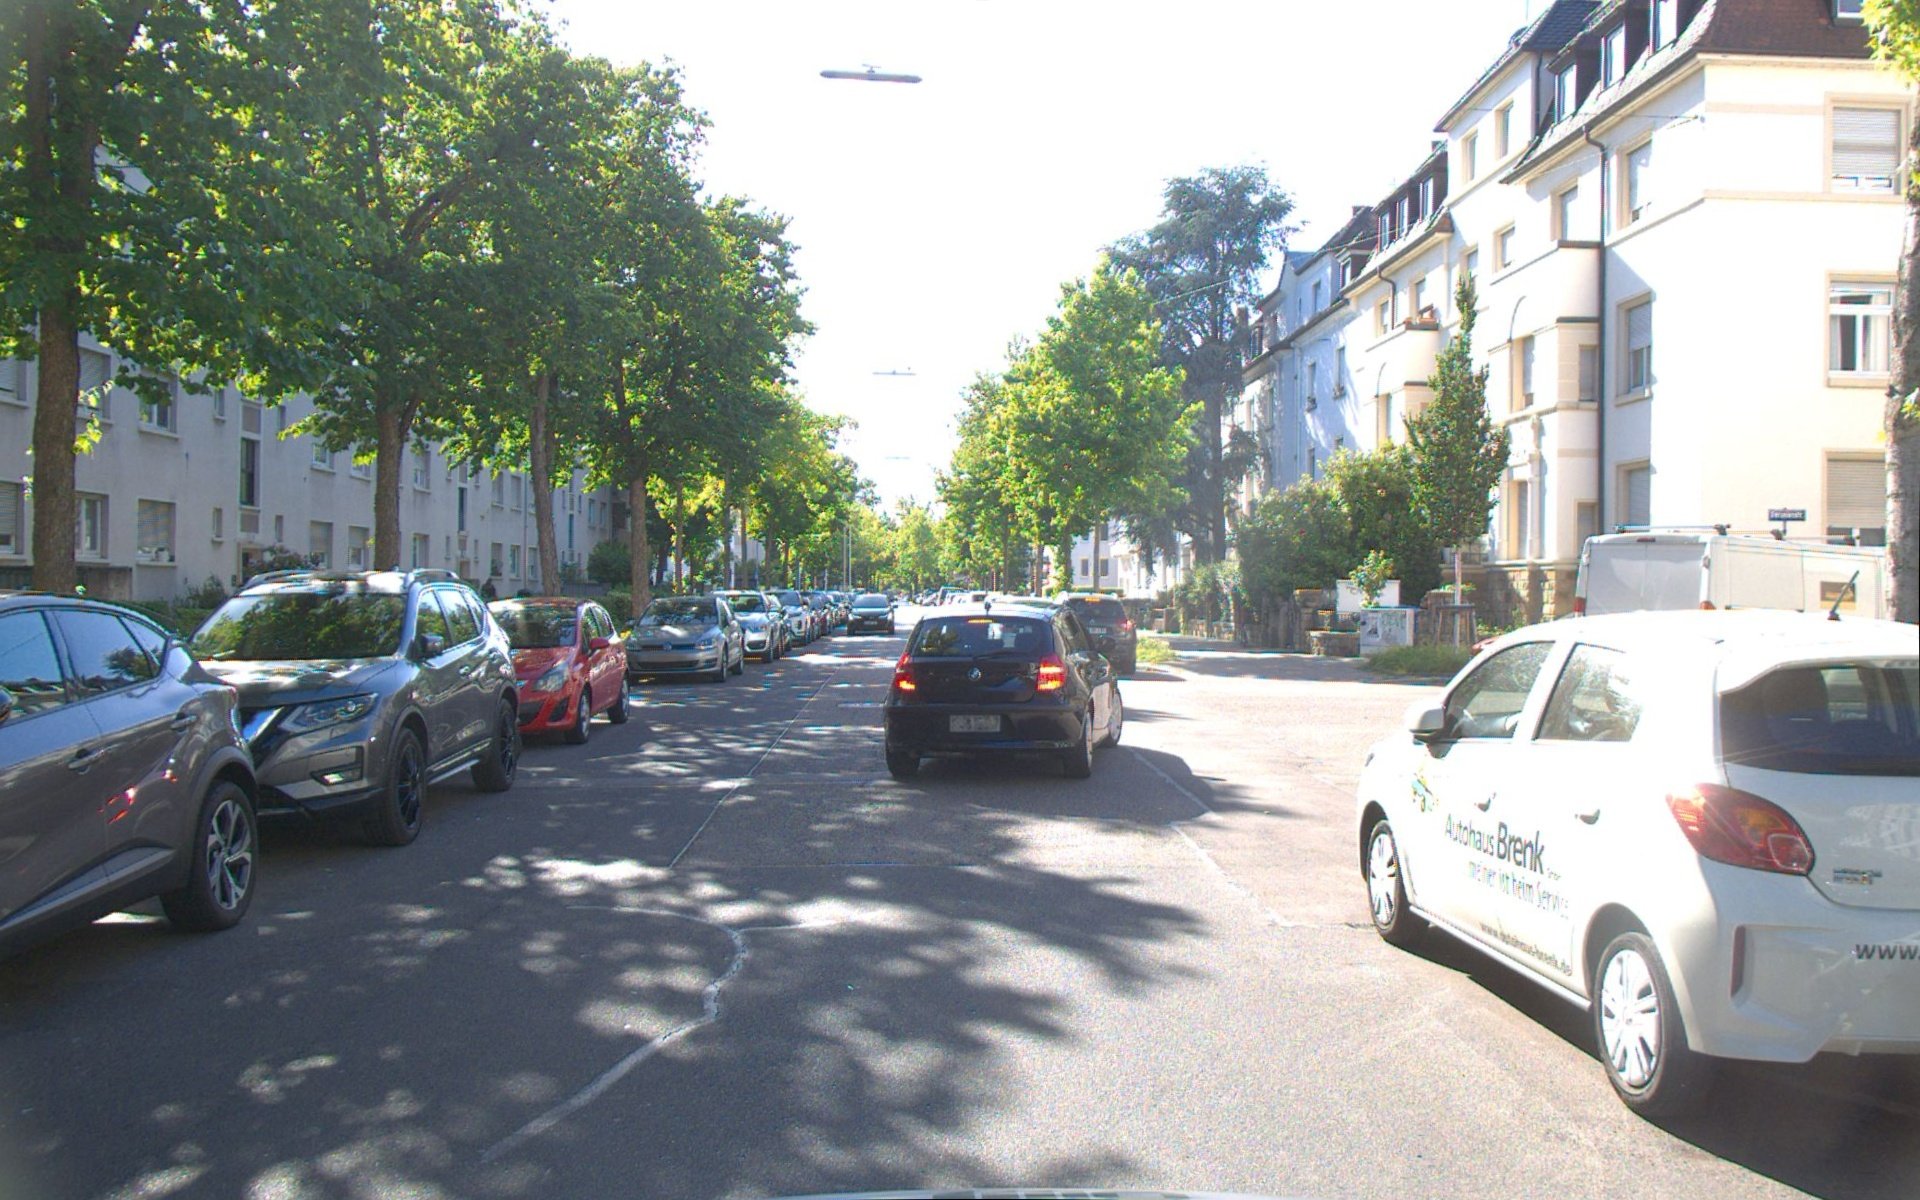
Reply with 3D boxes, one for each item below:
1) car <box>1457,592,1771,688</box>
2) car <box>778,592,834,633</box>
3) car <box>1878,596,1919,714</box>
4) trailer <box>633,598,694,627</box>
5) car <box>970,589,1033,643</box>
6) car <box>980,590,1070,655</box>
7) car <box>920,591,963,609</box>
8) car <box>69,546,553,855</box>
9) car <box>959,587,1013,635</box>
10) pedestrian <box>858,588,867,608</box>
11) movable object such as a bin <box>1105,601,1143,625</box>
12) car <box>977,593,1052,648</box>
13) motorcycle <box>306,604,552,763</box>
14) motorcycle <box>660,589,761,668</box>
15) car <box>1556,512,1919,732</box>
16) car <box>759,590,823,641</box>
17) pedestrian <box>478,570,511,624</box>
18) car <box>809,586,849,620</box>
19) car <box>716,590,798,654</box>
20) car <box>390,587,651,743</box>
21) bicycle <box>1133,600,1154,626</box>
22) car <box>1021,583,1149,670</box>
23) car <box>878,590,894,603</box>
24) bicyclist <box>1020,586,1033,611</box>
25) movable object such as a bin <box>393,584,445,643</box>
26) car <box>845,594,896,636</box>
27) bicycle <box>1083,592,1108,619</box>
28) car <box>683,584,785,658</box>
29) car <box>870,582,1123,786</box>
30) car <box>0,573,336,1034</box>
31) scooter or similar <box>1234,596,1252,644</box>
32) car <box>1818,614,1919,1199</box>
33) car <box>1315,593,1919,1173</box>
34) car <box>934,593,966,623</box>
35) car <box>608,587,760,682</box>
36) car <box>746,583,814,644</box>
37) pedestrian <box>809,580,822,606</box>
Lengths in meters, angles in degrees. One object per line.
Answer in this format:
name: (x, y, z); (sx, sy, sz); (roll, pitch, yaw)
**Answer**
car: (10.766, 0.631, 27.569); (4.617, 1.495, 1.955); (0, 0, 12)
car: (-5.674, 0.448, 61.332); (1.743, 1.403, 4.261); (-2, 0, -2)
car: (14.704, 0.714, 21.187); (4.830, 1.495, 2.046); (0, 1, -4)
trailer: (-11.323, 0.469, 63.363); (1.752, 1.052, 3.281); (0, 0, 0)
car: (1.290, 0.483, 52.801); (1.621, 1.559, 3.967); (3, 0, -3)
car: (1.599, 0.520, 42.093); (1.785, 1.495, 4.906); (2, 0, -3)
car: (-1.743, -0.007, 153.841); (3.910, 1.615, 1.725); (0, 0, -6)
car: (-4.243, 0.547, 11.728); (1.732, 1.717, 4.811); (0, 0, -3)
car: (0.940, 0.376, 62.373); (1.886, 1.680, 5.094); (2, 0, -1)
pedestrian: (-9.510, -0.229, 161.311); (0.702, 1.933, 0.834); (0, 0, -12)
movable object such as a bin: (6.696, 0.528, 67.444); (1.196, 0.920, 1.665); (0, 0, 18)
car: (1.501, 0.546, 47.081); (1.677, 1.435, 4.858); (2, 0, -3)
motorcycle: (-4.684, 0.724, 14.669); (1.912, 1.355, 0.788); (0, 0, 6)
motorcycle: (-5.032, 0.555, 33.289); (0.981, 1.530, 2.200); (-1, 0, -41)
car: (9.771, 0.224, 19.709); (4.977, 2.346, 2.217); (0, 0, -26)
car: (-5.506, 0.477, 54.347); (1.693, 1.503, 4.617); (-3, 0, -2)
pedestrian: (-16.977, -0.096, 60.325); (0.765, 1.947, 0.878); (0, 0, 25)
car: (-6.450, 0.145, 81.866); (1.775, 1.624, 4.231); (0, 0, -2)
car: (-5.144, 0.519, 42.450); (1.694, 1.472, 4.818); (-2, 1, -3)
car: (-4.609, 0.606, 17.976); (1.819, 1.495, 4.181); (0, 0, -2)
bicycle: (7.096, 0.485, 63.950); (0.569, 0.992, 1.903); (0, 0, 0)
car: (2.371, 0.505, 32.624); (1.858, 1.551, 4.963); (1, -1, -3)
car: (-9.488, -0.417, 212.208); (1.749, 1.637, 3.995); (0, 0, -6)
bicyclist: (4.267, -0.109, 106.288); (0.663, 1.580, 1.021); (0, 0, -5)
movable object such as a bin: (-12.633, 0.301, 38.667); (0.912, 1.347, 1.377); (0, 0, -7)
car: (-3.318, 0.527, 61.500); (1.773, 1.471, 4.364); (-1, 0, -3)
bicycle: (6.540, 0.253, 79.811); (0.822, 1.279, 2.229); (1, 0, -6)
car: (-5.020, 0.428, 37.268); (2.024, 1.551, 4.717); (0, 0, -5)
car: (0.463, 0.629, 14.679); (1.744, 1.550, 4.003); (0, 0, 8)
car: (-4.122, 0.674, 6.495); (1.733, 1.558, 4.418); (0, 0, -1)
scooter or similar: (7.444, 0.514, 43.442); (0.393, 1.205, 1.207); (0, 1, 13)
car: (2.969, 0.819, 1.847); (1.637, 1.476, 4.176); (2, 0, -3)
car: (2.780, 0.750, 6.412); (1.698, 1.513, 4.006); (1, 0, -4)
car: (-0.711, 0.521, 112.484); (1.931, 1.983, 4.983); (0, 0, -3)
car: (-4.800, 0.543, 29.443); (2.001, 1.551, 4.605); (0, 0, -1)
car: (-5.288, 0.381, 49.012); (1.694, 1.646, 4.364); (-3, 0, -3)
pedestrian: (-11.692, -0.584, 133.555); (0.841, 2.049, 0.982); (0, 0, 6)
